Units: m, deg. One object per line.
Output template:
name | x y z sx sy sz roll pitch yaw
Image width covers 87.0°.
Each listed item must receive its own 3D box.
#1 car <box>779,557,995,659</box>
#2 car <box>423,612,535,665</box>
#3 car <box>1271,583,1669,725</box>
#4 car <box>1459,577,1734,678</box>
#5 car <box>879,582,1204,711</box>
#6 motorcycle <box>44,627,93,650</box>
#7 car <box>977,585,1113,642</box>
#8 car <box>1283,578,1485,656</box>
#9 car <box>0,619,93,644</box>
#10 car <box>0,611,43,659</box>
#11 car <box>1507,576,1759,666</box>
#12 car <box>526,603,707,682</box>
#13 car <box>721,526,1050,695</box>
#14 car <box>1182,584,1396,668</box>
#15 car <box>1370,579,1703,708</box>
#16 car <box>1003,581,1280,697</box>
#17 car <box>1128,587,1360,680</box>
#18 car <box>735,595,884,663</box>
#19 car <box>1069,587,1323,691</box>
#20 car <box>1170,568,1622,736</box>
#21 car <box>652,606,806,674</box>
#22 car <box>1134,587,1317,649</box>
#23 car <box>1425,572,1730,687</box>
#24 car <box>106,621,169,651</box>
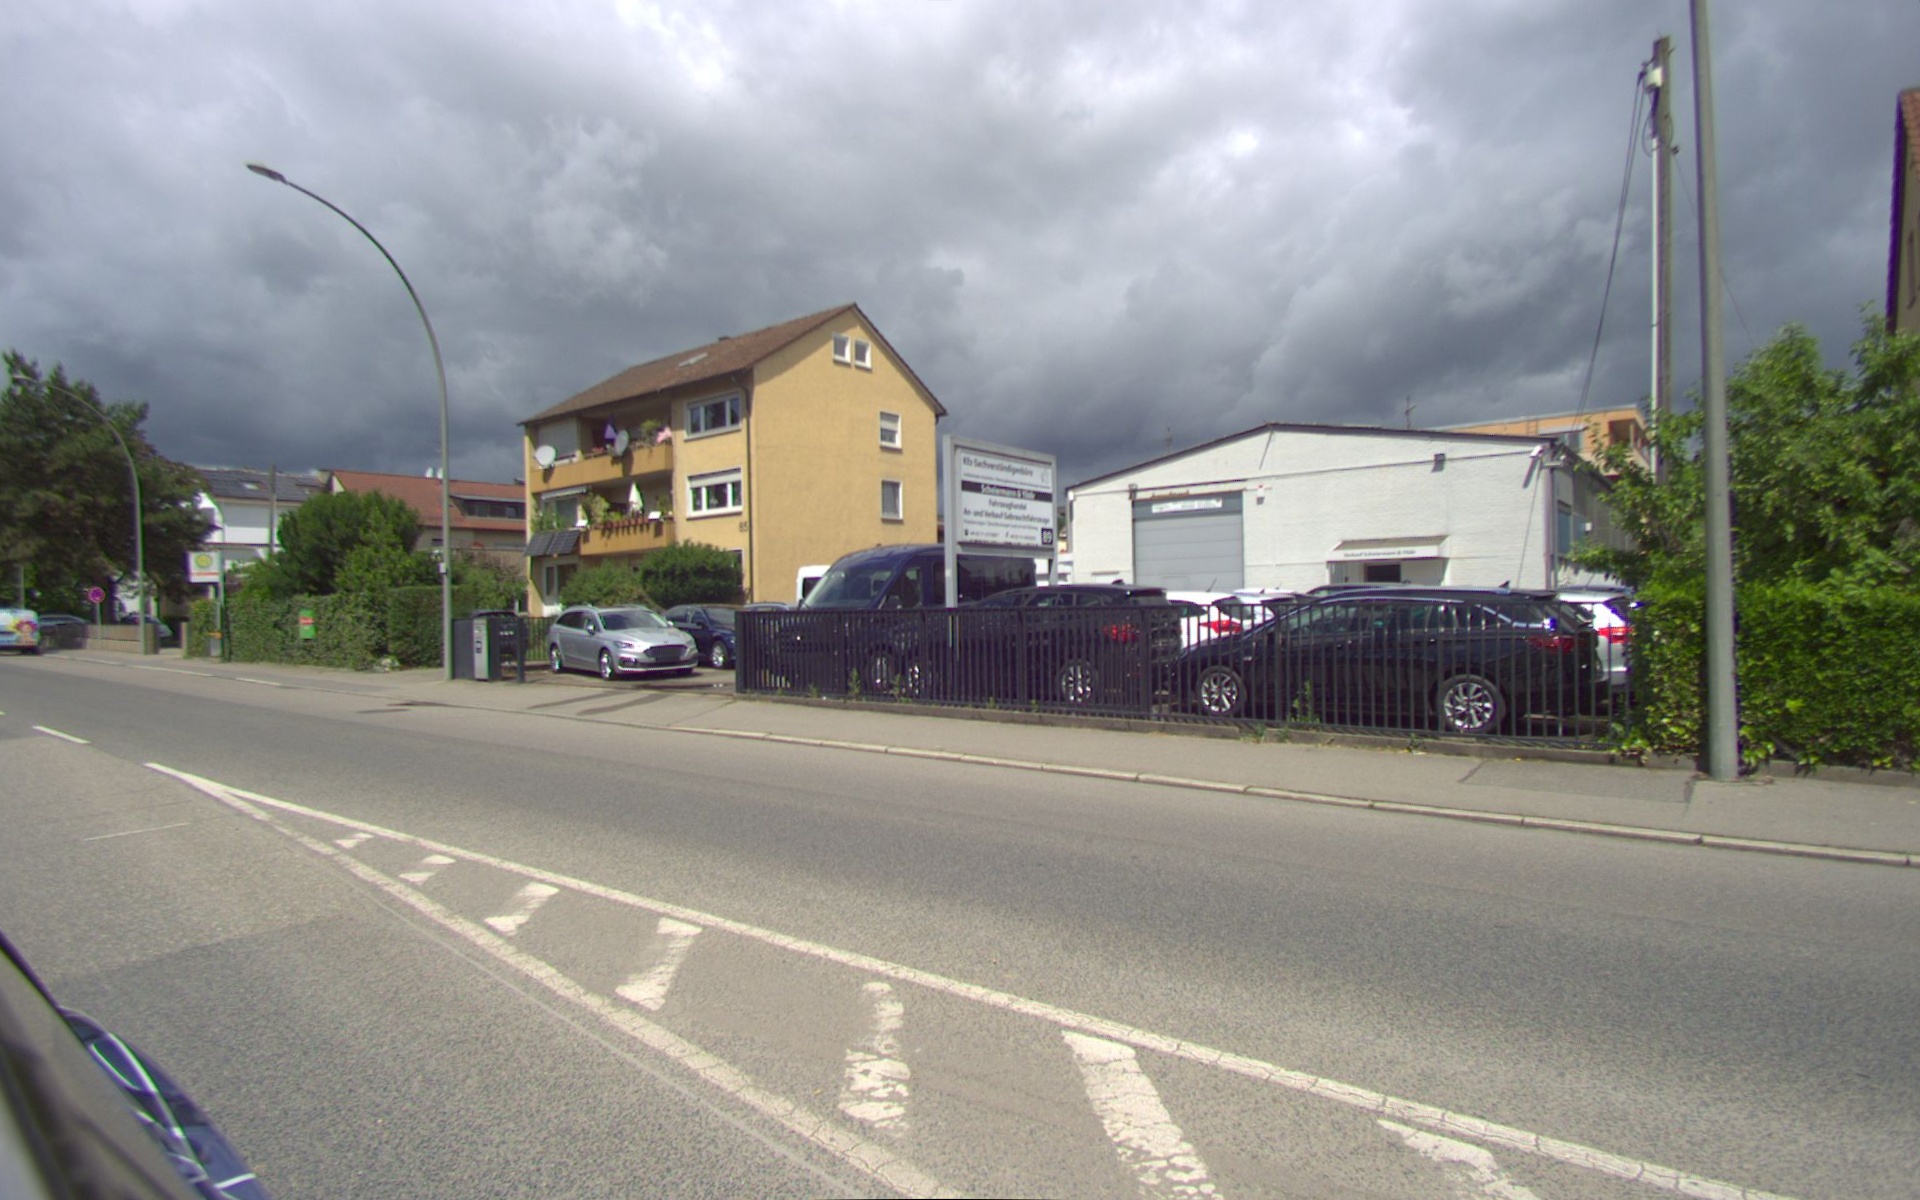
car | -2.129 0.291 27.887 6.134 2.514 2.386 -1 -3 43
car | -14.399 1.104 30.176 1.823 1.437 4.335 0 -1 -43
car | 6.458 0.617 12.982 4.260 1.518 2.134 -1 -1 37
car | 11.297 0.479 18.175 3.990 1.630 1.761 -1 -1 35
car | 1.099 0.620 14.644 4.277 1.607 2.013 -1 -1 37
motorcycle | -46.809 2.020 53.144 1.845 1.174 0.827 0 -1 -34
car | 2.818 0.457 34.137 4.328 1.805 1.826 -1 -1 41
car | 9.652 0.398 23.145 3.990 1.630 1.761 -1 -1 35
car | -60.757 2.052 66.882 1.970 1.563 4.960 -1 0 38
car | -39.592 1.467 41.769 4.891 1.868 1.815 -2 -5 40
car | 13.212 0.410 20.085 3.990 1.630 1.761 -1 -1 35
car | -7.587 0.850 21.981 1.968 1.497 5.349 0 -1 -39
car | -1.095 0.184 18.211 2.475 2.515 5.977 -1 -1 39
car | 6.933 0.536 21.472 3.990 1.630 1.761 -1 -1 35
car | 8.258 0.581 14.647 3.994 1.630 1.759 -1 -1 38
car | 2.835 0.583 16.130 3.990 1.630 1.761 -1 -1 35
car | 5.477 0.622 19.669 3.990 1.630 1.761 -1 -1 35
car | -3.931 0.712 25.914 1.821 1.589 4.338 0 -1 -39
car | 4.095 0.649 17.769 3.990 1.630 1.761 -1 -1 35
car | 4.777 0.515 11.307 4.260 1.518 2.133 -1 -1 37
car | -5.537 0.891 23.889 1.821 1.437 4.338 0 -1 -39
car | 8.050 0.557 30.910 4.998 1.726 2.030 -1 -1 37
car | 9.830 0.451 16.252 3.994 1.630 1.759 -1 -1 38
car | -45.737 1.976 56.278 4.079 1.555 1.751 -1 -1 36
